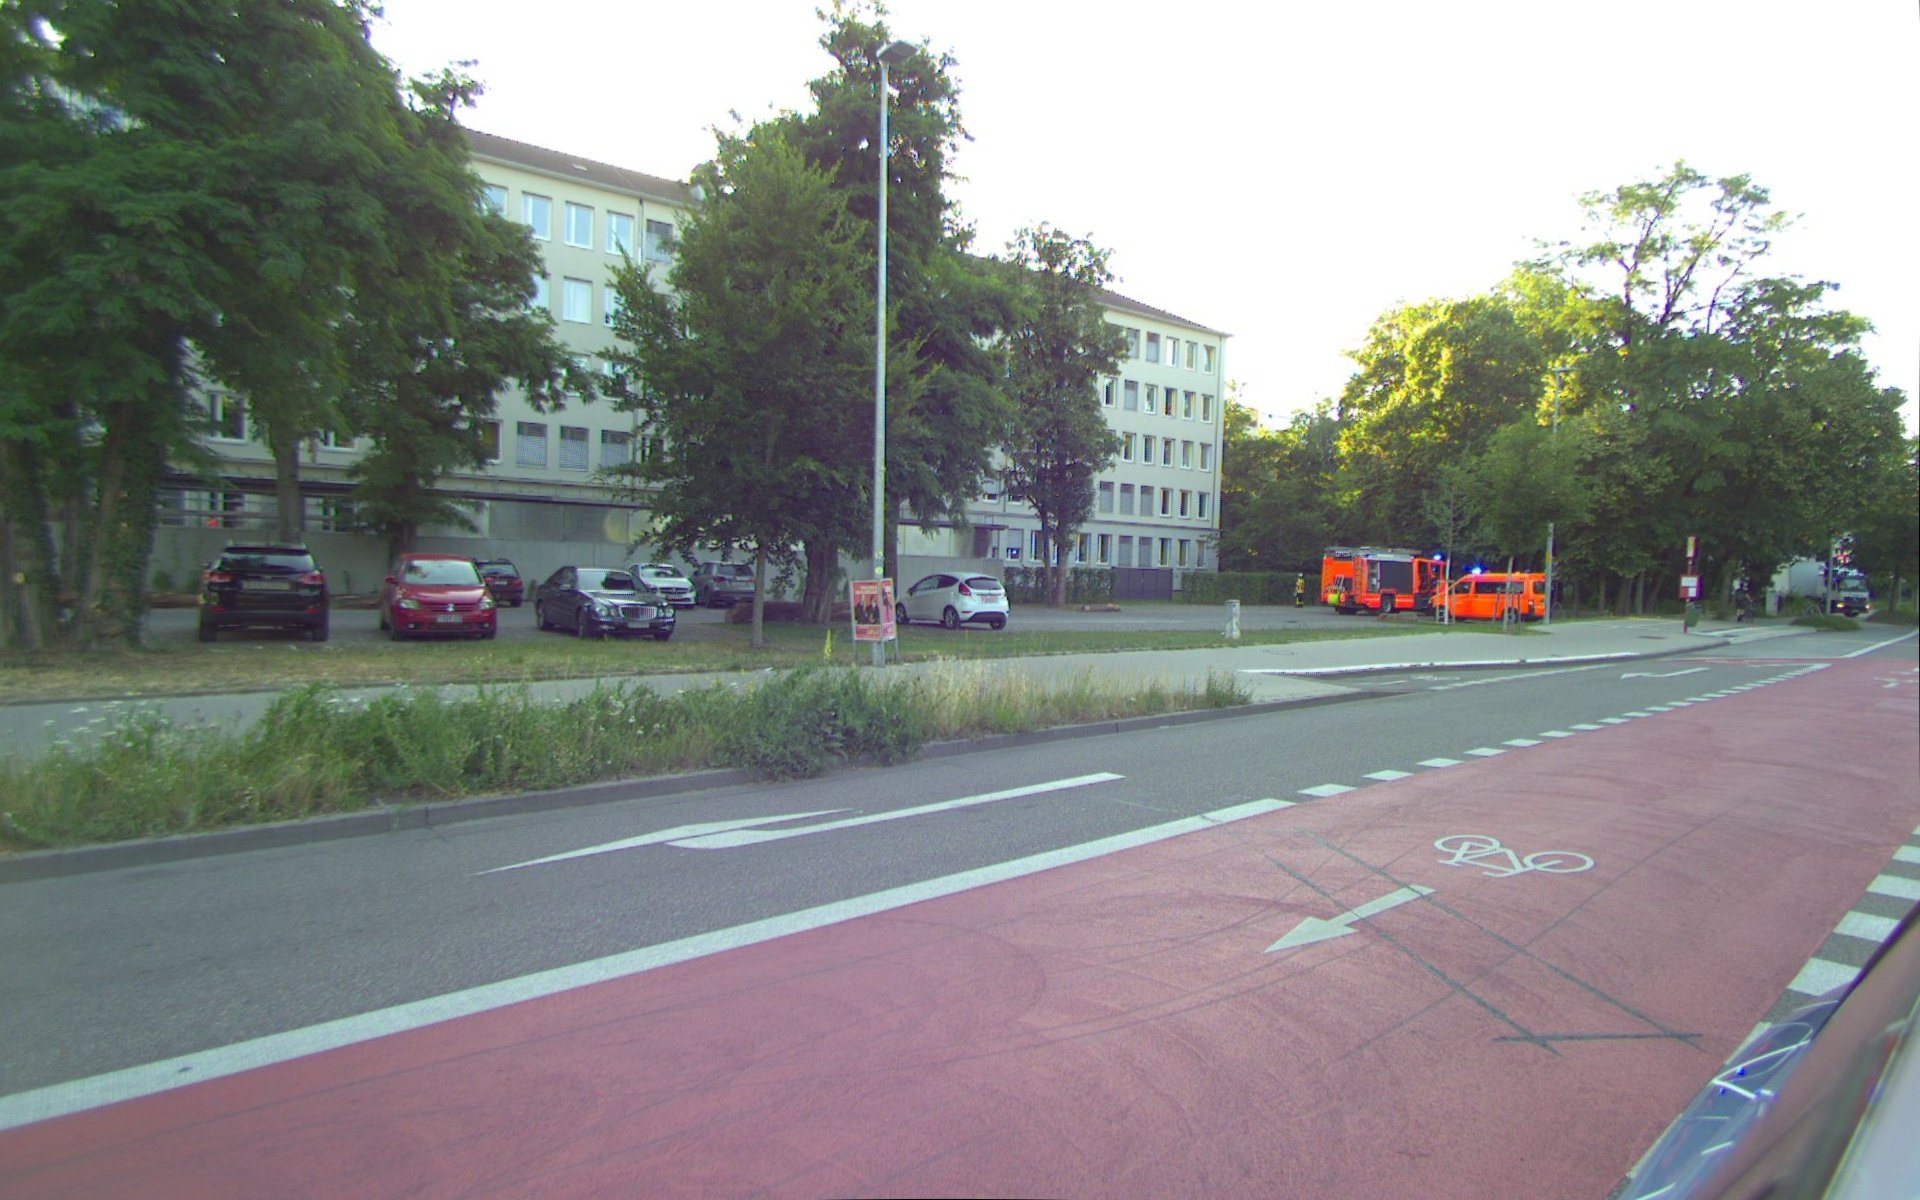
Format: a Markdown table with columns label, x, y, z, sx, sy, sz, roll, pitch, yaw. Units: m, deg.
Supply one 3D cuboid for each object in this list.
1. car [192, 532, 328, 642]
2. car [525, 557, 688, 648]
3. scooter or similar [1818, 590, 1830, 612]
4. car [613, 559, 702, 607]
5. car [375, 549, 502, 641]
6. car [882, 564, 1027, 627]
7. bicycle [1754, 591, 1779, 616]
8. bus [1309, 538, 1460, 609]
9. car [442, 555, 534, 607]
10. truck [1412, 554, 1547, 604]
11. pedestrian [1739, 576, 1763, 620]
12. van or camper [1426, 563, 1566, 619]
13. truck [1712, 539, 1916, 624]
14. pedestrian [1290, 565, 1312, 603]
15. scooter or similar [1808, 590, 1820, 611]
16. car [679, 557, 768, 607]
| label | x | y | z | sx | sy | sz | roll | pitch | yaw |
| --- | --- | --- | --- | --- | --- | --- | --- | --- | --- |
| car | -12.386 | -0.256 | 17.889 | 1.802 | 1.715 | 3.910 | 0 | 1 | -36 |
| car | -7.434 | -0.053 | 21.008 | 1.866 | 1.465 | 4.584 | -2 | 6 | -37 |
| scooter or similar | 54.826 | 0.057 | 64.202 | 0.482 | 1.297 | 1.123 | 5 | 3 | 41 |
| car | -10.131 | -0.580 | 33.726 | 1.798 | 1.494 | 4.002 | 0 | 1 | -33 |
| car | -10.142 | -0.167 | 19.548 | 1.751 | 1.580 | 4.003 | 0 | 2 | -34 |
| car | -0.233 | -0.172 | 27.056 | 1.876 | 1.556 | 3.999 | 0 | 1 | -37 |
| bicycle | 37.365 | 0.142 | 46.896 | 0.829 | 1.111 | 1.941 | 4 | 3 | 38 |
| bus | 20.872 | -1.245 | 49.619 | 7.810 | 3.236 | 2.999 | 0 | 1 | -34 |
| car | -14.451 | -0.592 | 30.870 | 1.866 | 1.460 | 4.001 | 0 | 1 | -35 |
| truck | 36.673 | -1.590 | 71.859 | 2.703 | 3.250 | 8.683 | 1 | 2 | -24 |
| pedestrian | 36.881 | -0.094 | 47.204 | 0.684 | 2.038 | 0.724 | 0 | 2 | -43 |
| van or camper | 22.950 | -0.424 | 43.481 | 2.252 | 2.272 | 4.828 | 0 | 1 | -36 |
| truck | 63.774 | -1.484 | 76.534 | 5.081 | 5.642 | 15.031 | 2 | 2 | 12 |
| pedestrian | 18.743 | -0.897 | 55.667 | 0.810 | 2.038 | 0.774 | 1 | 2 | -32 |
| scooter or similar | 53.402 | 0.017 | 63.303 | 0.482 | 1.297 | 1.213 | 5 | 3 | 41 |
| car | -8.341 | -0.642 | 35.422 | 1.875 | 1.637 | 4.004 | -1 | 2 | -32 |
